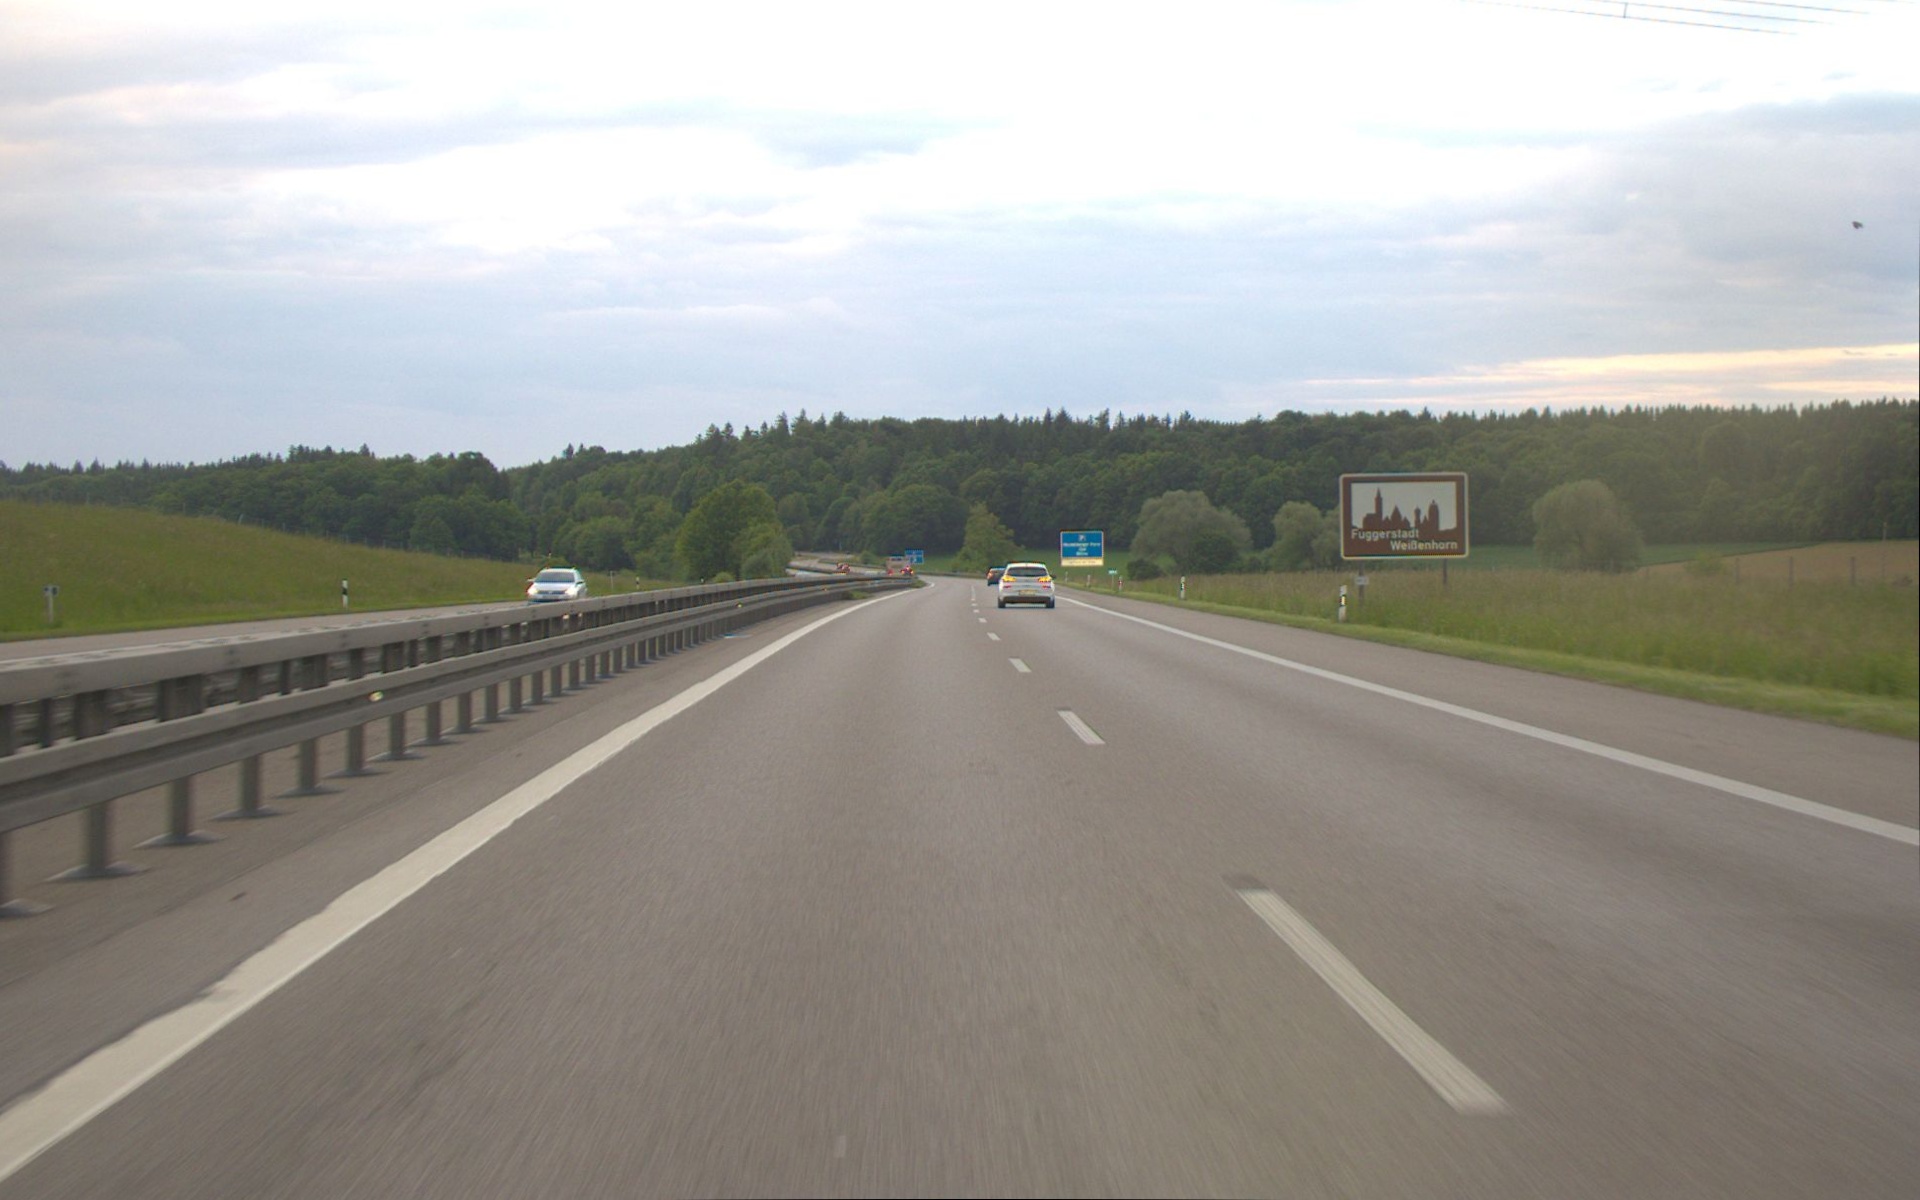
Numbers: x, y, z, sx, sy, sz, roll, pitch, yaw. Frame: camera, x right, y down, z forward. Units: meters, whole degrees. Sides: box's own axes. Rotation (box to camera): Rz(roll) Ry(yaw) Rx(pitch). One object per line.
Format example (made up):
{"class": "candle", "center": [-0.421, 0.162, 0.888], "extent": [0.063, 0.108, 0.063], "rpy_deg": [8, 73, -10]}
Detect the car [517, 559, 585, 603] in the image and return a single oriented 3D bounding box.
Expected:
{"class": "car", "center": [-14.809, -0.697, 124.651], "extent": [1.765, 1.477, 5.334], "rpy_deg": [1, 1, 0]}

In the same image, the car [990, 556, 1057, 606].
{"class": "car", "center": [2.037, -0.633, 111.069], "extent": [1.951, 1.526, 4.081], "rpy_deg": [1, 1, -2]}
